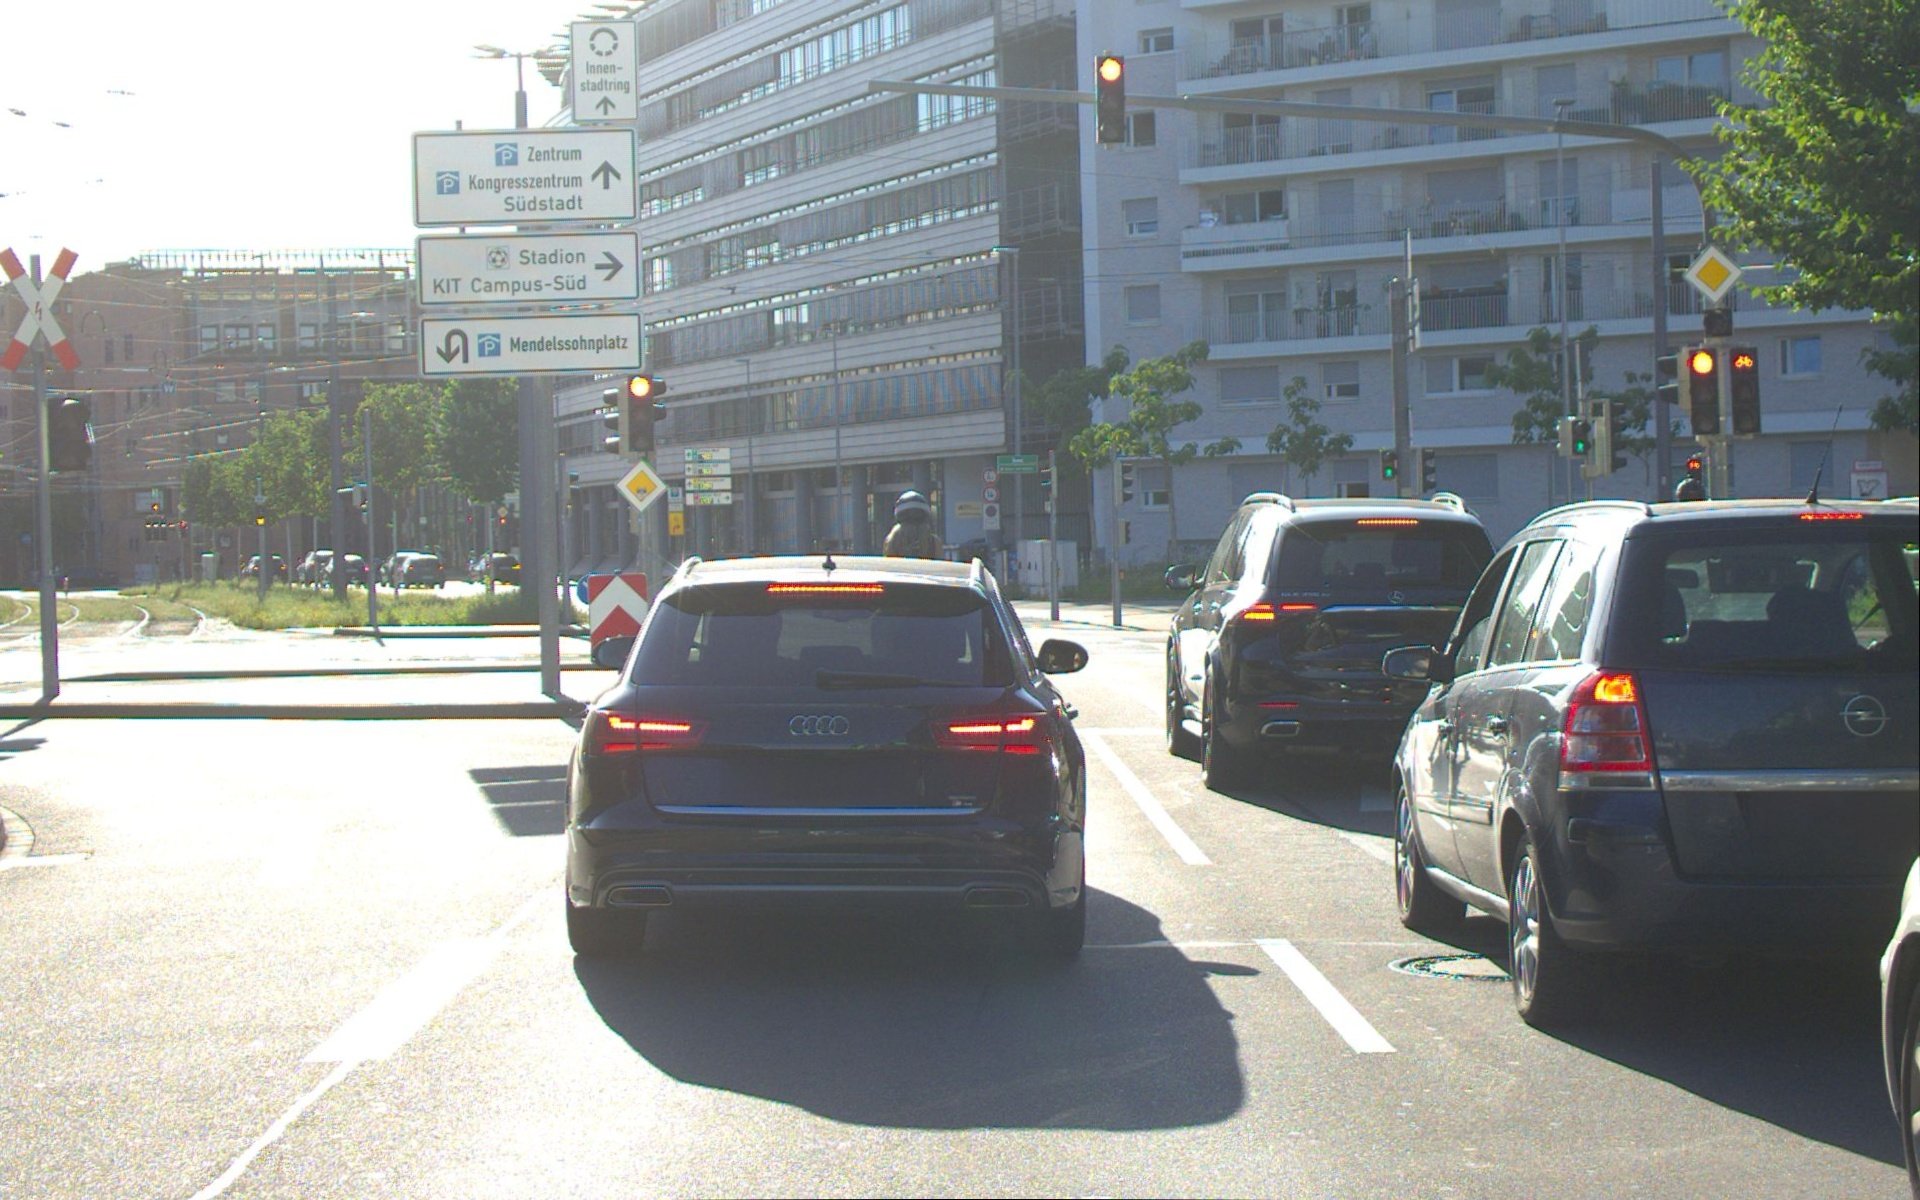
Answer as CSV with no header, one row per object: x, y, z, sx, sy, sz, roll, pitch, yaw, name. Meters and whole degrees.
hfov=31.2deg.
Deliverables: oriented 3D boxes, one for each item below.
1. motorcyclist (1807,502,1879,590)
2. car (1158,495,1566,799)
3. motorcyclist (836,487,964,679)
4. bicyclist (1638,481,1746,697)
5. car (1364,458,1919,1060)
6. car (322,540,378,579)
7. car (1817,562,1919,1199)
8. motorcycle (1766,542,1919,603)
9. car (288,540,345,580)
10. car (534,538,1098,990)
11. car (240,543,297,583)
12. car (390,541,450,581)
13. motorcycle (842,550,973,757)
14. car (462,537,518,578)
15.041,-0.922,58.537,0.926,1.476,1.170,-1,1,27,motorcyclist
2.405,0.216,21.700,2.003,1.709,4.373,1,1,-1,car
-0.418,-0.122,24.178,0.862,1.322,0.681,-1,1,0,motorcyclist
5.668,-0.098,26.659,0.654,1.637,0.972,-1,1,3,bicyclist
2.535,0.422,11.832,1.746,1.690,4.261,1,1,0,car
-26.793,-1.770,150.897,1.993,1.590,4.001,-2,0,-16,car
2.805,0.676,5.551,1.746,1.476,4.628,-1,1,1,car
15.097,-0.473,58.547,2.456,0.997,1.170,-1,1,27,motorcycle
-29.431,-1.807,157.140,1.993,1.700,4.001,-2,0,-18,car
-0.505,0.506,13.315,1.842,1.449,4.000,1,1,-1,car
-31.454,-1.681,156.235,1.993,1.700,4.001,-2,0,-18,car
-23.353,-1.676,148.567,1.993,1.590,4.001,-2,0,-16,car
-0.363,0.347,24.201,0.862,1.388,1.894,-1,1,0,motorcycle
-21.994,-1.981,160.779,1.993,1.831,4.001,-2,0,-16,car
